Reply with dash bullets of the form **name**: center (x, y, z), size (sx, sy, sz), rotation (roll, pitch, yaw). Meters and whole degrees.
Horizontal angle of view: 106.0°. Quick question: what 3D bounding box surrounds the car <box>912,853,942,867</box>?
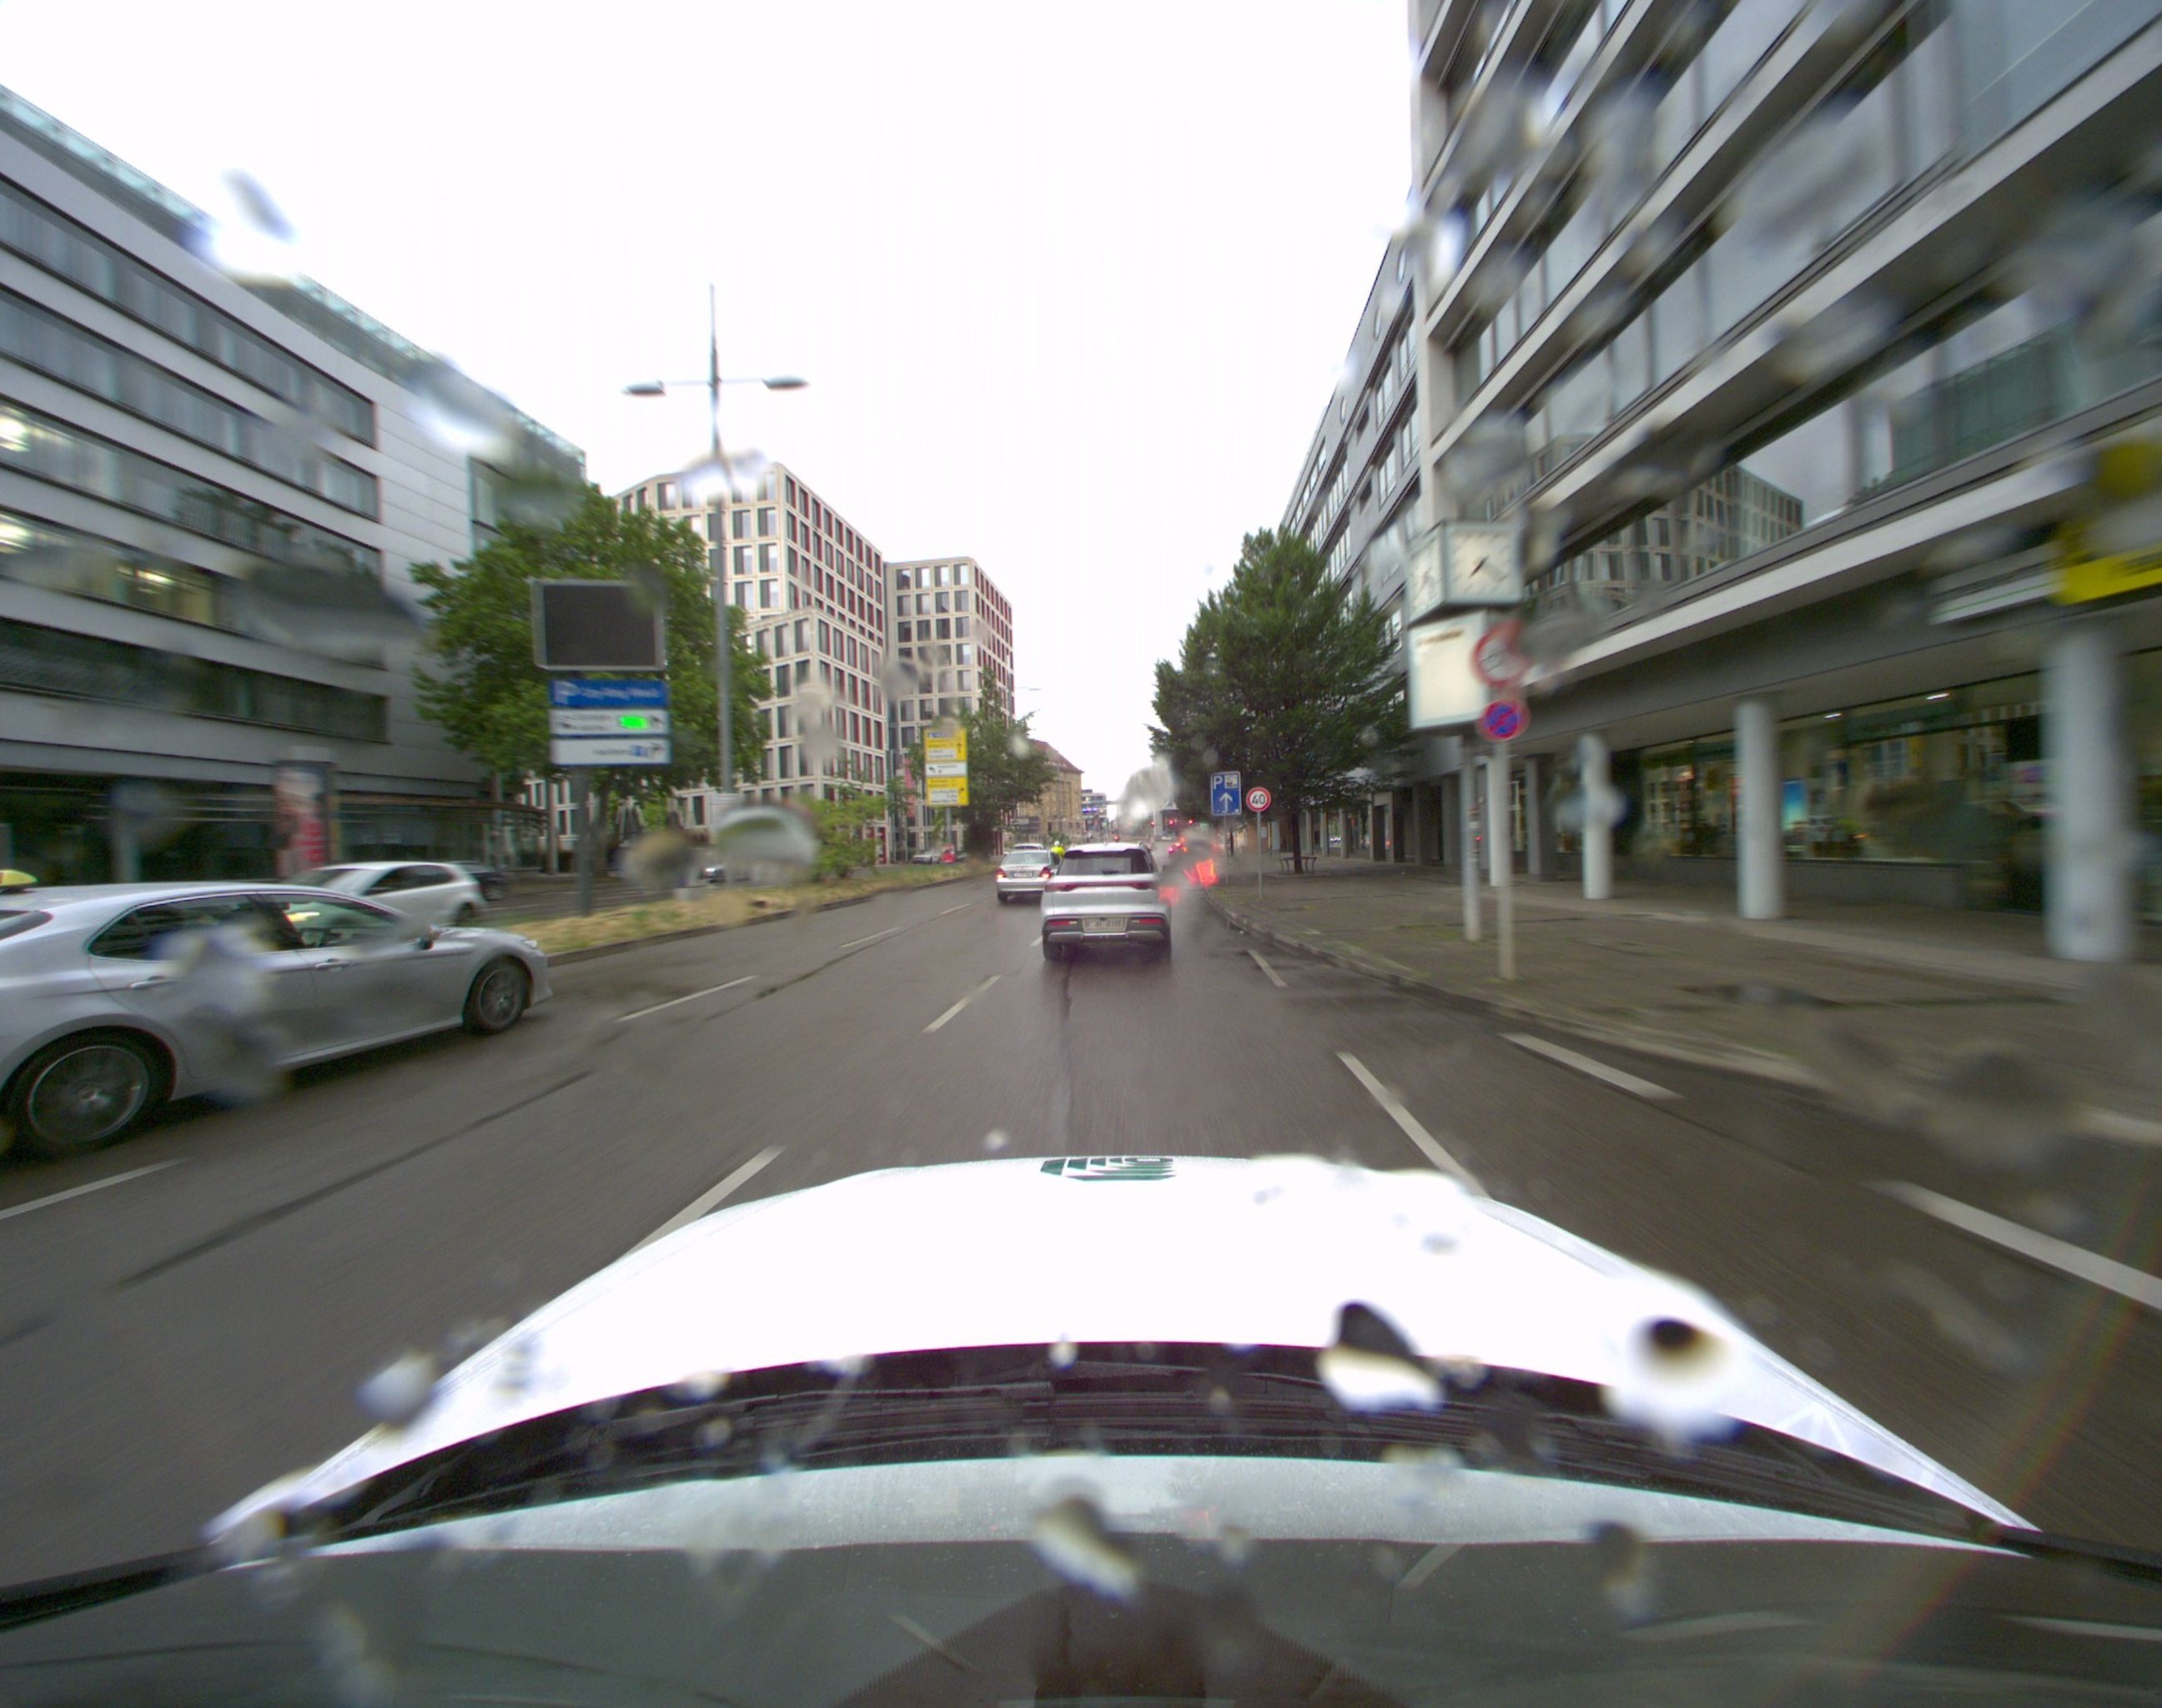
- **car**: center (-15.943, 0.601, 84.444), size (1.688, 1.424, 4.382), rotation (-3, 0, 7)

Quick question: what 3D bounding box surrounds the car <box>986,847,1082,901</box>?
- **car**: center (-1.252, 0.548, 23.751), size (1.721, 1.404, 4.396), rotation (-1, -1, 11)

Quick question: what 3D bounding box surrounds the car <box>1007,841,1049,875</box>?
- **car**: center (-2.594, 0.203, 40.656), size (1.727, 1.616, 4.000), rotation (0, -1, 1)

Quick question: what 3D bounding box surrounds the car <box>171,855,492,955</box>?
- **car**: center (-12.541, 0.773, 14.045), size (1.744, 1.464, 3.973), rotation (0, -1, 2)

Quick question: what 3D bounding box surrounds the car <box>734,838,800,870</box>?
- **car**: center (-20.597, 0.005, 53.706), size (1.983, 2.014, 4.924), rotation (0, -1, 6)

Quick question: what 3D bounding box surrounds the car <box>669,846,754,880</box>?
- **car**: center (-18.949, 0.399, 42.013), size (1.984, 1.618, 4.489), rotation (0, 1, 6)

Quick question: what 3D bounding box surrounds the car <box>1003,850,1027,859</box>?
- **car**: center (-12.558, 0.132, 155.234), size (4.380, 1.662, 1.993), rotation (0, -1, -10)

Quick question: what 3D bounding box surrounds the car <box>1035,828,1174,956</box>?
- **car**: center (0.466, 0.511, 12.689), size (1.800, 1.661, 4.176), rotation (0, -1, 4)

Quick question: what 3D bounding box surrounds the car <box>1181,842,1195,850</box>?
- **car**: center (25.611, -1.983, 194.914), size (1.996, 1.816, 3.982), rotation (0, -1, -13)

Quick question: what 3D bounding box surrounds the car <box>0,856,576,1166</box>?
- **car**: center (-6.106, 0.791, 5.746), size (1.823, 1.521, 4.806), rotation (0, 0, 4)

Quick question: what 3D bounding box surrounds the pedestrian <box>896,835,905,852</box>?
- **pedestrian**: center (-18.699, -1.039, 84.403), size (0.609, 1.734, 0.969), rotation (0, -1, 7)

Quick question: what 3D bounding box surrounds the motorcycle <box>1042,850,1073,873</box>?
- **motorcycle**: center (-1.022, 0.322, 35.766), size (0.936, 0.989, 2.300), rotation (0, 0, 8)

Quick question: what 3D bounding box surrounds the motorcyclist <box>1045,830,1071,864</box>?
- **motorcyclist**: center (-0.999, -0.314, 35.927), size (0.936, 1.475, 1.103), rotation (-1, -1, 8)

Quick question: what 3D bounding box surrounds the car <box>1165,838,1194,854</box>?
- **car**: center (9.712, -0.752, 79.952), size (1.875, 1.544, 4.014), rotation (-1, -1, 22)
